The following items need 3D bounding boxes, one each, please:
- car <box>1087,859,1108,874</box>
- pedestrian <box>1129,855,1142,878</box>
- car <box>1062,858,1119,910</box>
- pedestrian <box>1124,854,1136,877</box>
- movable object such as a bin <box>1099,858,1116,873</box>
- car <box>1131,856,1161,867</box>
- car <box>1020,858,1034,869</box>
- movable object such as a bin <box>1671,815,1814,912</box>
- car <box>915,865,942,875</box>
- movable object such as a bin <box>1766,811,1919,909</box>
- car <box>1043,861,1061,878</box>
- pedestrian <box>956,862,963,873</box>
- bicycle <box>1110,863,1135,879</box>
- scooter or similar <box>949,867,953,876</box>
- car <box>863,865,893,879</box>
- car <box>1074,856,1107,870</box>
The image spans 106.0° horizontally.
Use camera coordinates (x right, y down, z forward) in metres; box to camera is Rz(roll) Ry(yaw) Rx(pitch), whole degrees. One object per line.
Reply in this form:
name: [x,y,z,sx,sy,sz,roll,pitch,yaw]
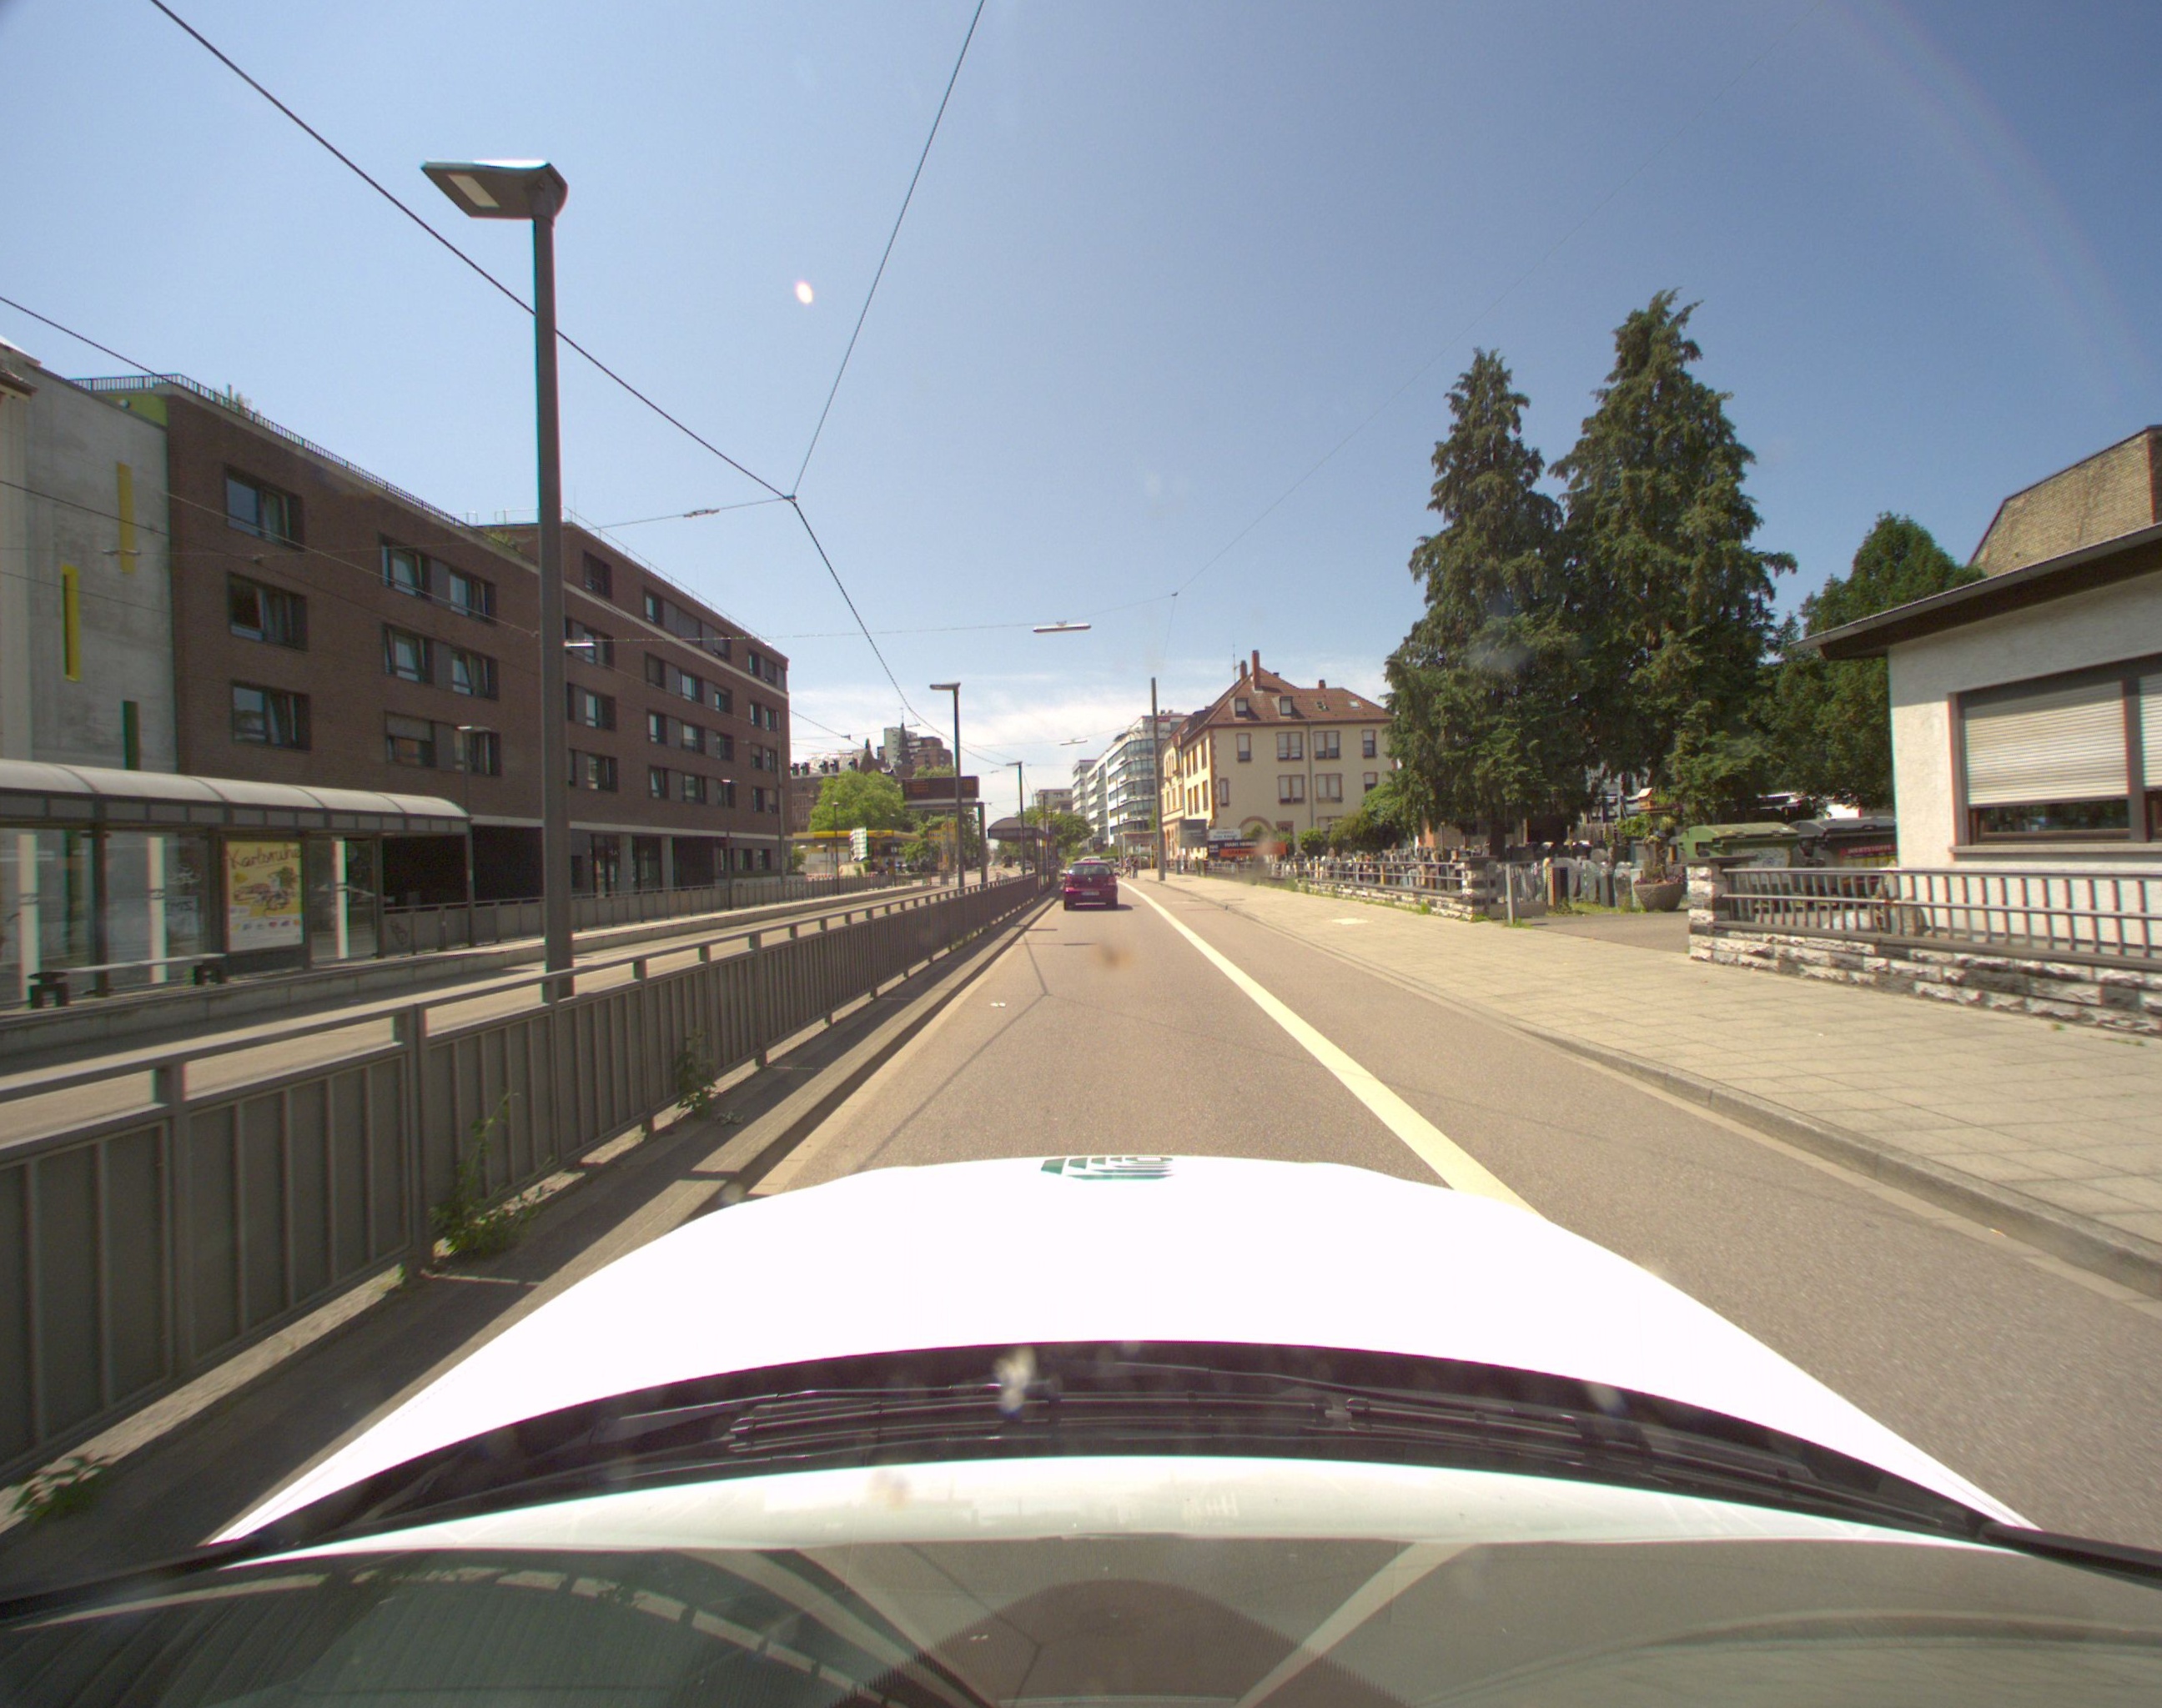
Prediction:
car: [1.834,1.491,93.537,1.770,1.548,4.458,-4,-1,-6]
pedestrian: [4.062,0.954,60.928,0.819,1.691,0.590,-2,-1,8]
car: [0.332,0.872,25.360,1.613,1.486,4.001,-1,0,2]
pedestrian: [3.767,0.863,62.632,0.681,1.772,0.506,-2,-1,26]
movable object such as a bin: [2.659,1.183,82.262,1.392,1.455,1.135,-4,0,-10]
car: [9.339,1.085,117.251,4.139,1.459,1.816,-2,-1,-3]
car: [-8.892,1.604,133.363,1.991,1.739,3.992,-3,0,-6]
movable object such as a bin: [10.888,0.160,13.474,1.382,1.481,1.152,-2,-1,2]
car: [-25.156,2.596,134.478,1.910,1.488,4.479,-1,-1,33]
movable object such as a bin: [12.438,0.098,13.359,1.380,1.481,1.153,-2,-1,5]
car: [-3.718,1.950,103.403,1.992,2.014,3.990,-1,-1,-7]
pedestrian: [-18.365,2.045,123.044,0.630,1.691,0.714,-2,-1,-36]
bicycle: [3.146,1.295,62.338,1.785,1.127,0.593,-2,-1,24]
scooter or similar: [-17.288,2.304,108.423,0.518,1.200,1.372,-1,-1,-9]
car: [-25.469,2.267,102.282,1.811,1.504,4.218,0,1,17]
car: [1.314,1.263,115.581,4.531,1.799,1.996,-2,-1,-6]
